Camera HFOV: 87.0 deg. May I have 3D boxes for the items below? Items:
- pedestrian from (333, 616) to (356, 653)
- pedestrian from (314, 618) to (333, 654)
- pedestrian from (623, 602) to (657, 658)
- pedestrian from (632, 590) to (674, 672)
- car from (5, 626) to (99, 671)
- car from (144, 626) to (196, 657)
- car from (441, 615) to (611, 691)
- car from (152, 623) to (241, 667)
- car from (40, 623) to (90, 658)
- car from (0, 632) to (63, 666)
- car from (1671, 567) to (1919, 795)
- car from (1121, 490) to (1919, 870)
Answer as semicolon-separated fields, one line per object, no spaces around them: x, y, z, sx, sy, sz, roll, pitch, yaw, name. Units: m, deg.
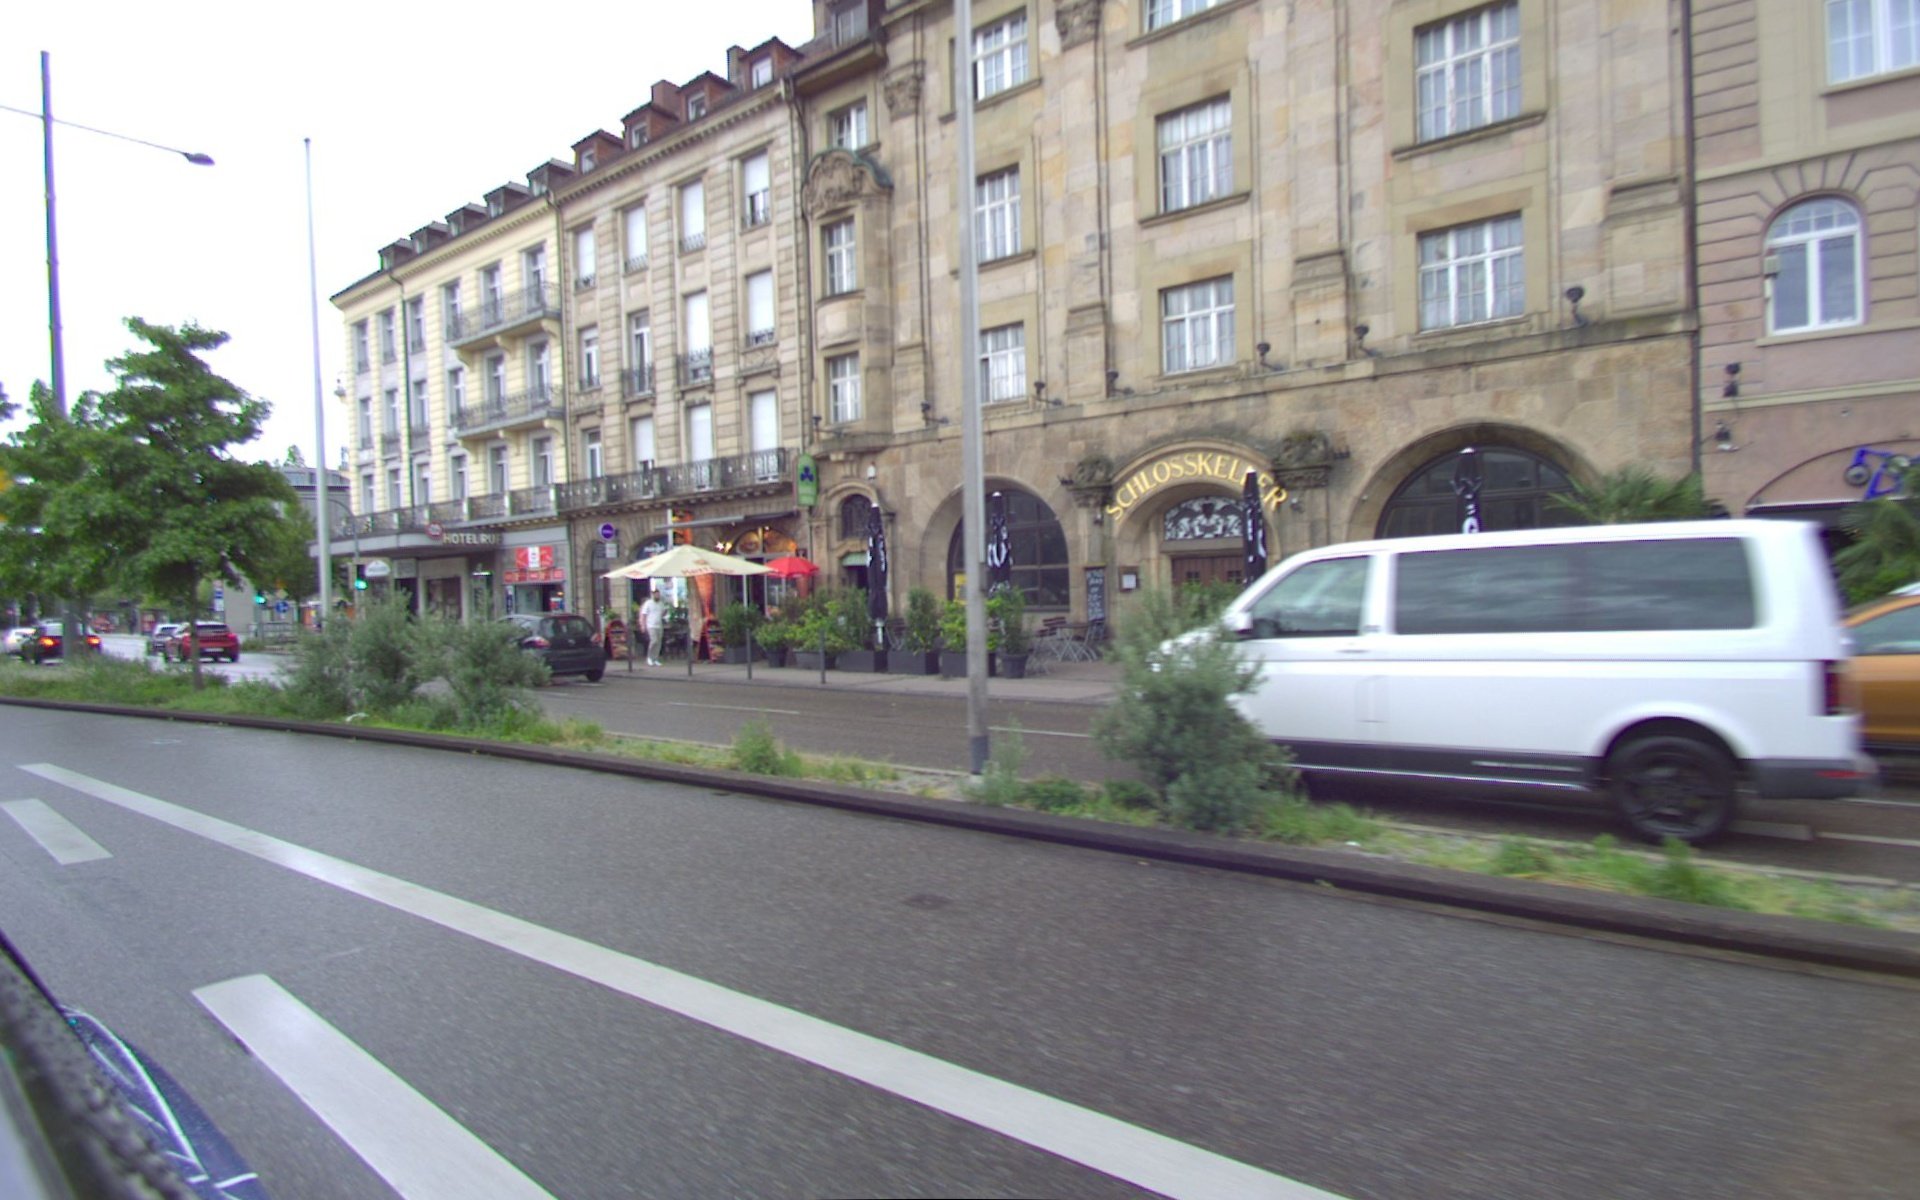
-26.316;1.480;43.284;0.777;1.550;0.748;-2;0;-32;pedestrian
-26.891;1.508;42.747;0.633;1.499;0.748;-2;0;-32;pedestrian
-9.821;0.908;31.070;0.677;1.683;0.757;0;0;34;pedestrian
-7.378;0.730;24.322;0.765;1.924;0.670;0;0;40;pedestrian
-33.026;1.708;36.752;5.025;1.475;1.824;-1;-1;40;car
-39.957;2.080;51.186;1.741;1.520;3.847;2;-2;-42;car
-9.086;1.053;21.109;3.754;1.443;1.613;-1;-1;37;car
-27.828;1.606;36.844;3.911;1.456;1.661;-1;0;39;car
-48.728;2.173;55.079;1.791;1.763;3.813;0;-1;-45;car
-44.434;2.318;48.279;4.369;1.475;1.824;-1;-1;40;car
8.132;0.590;7.972;4.094;1.693;1.976;-1;-1;36;car
3.798;0.456;7.404;4.847;1.989;1.903;-1;-1;37;car
